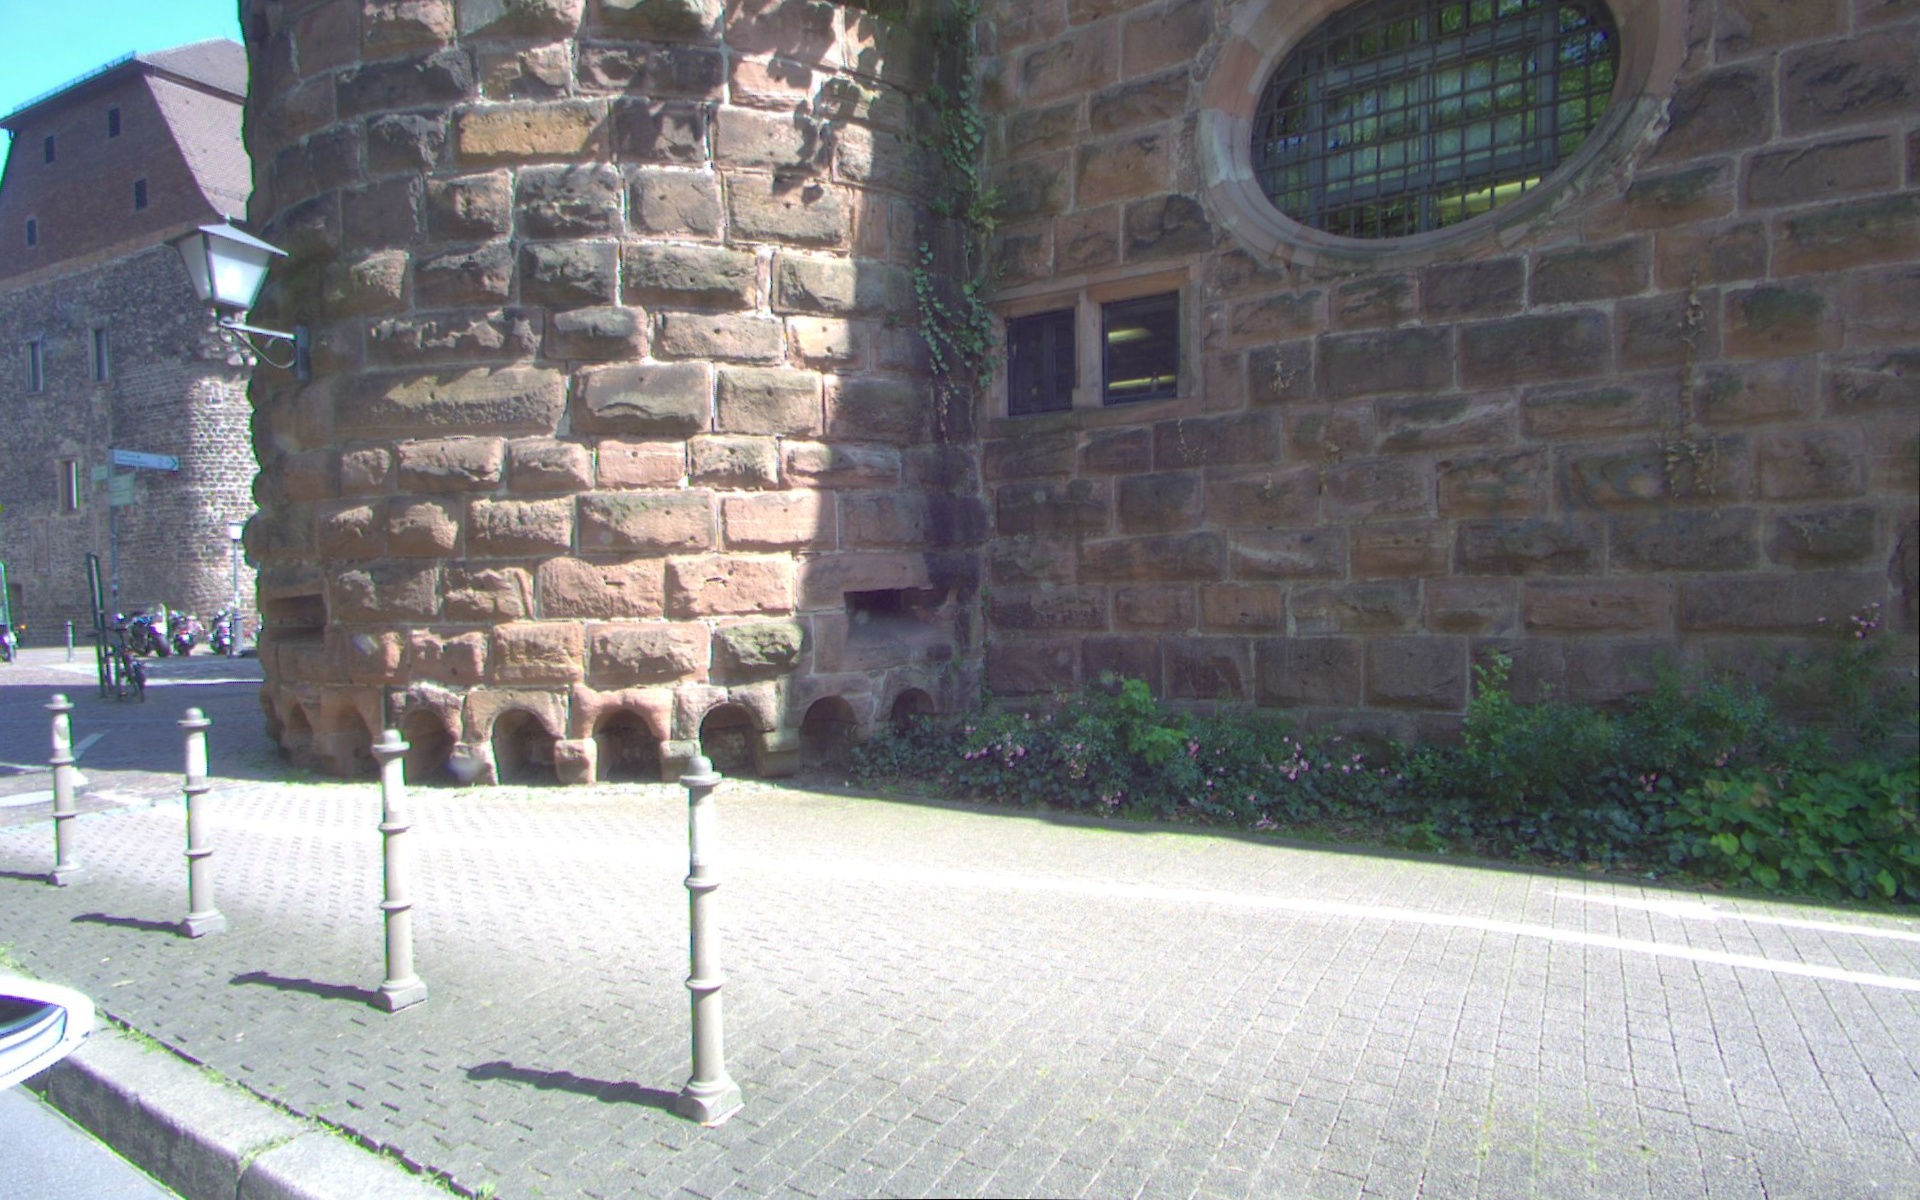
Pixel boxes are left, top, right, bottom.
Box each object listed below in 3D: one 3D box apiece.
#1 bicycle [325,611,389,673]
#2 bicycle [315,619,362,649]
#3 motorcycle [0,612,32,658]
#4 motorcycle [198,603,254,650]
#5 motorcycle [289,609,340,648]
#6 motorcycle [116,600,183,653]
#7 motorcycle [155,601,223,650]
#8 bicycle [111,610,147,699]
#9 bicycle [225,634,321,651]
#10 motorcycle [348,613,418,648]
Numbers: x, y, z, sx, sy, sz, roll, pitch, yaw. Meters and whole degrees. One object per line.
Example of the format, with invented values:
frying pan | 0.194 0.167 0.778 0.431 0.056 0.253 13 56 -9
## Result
bicycle | -11.981 0.809 19.884 1.707 1.178 0.445 0 1 36
bicycle | -18.382 1.000 29.615 1.898 0.831 0.353 0 -1 32
motorcycle | -22.189 0.790 23.053 2.453 1.026 0.565 0 1 32
motorcycle | -19.899 0.723 27.135 2.002 1.251 0.545 -1 -2 32
motorcycle | -18.136 0.809 28.129 1.814 1.087 0.506 -1 -2 32
motorcycle | -20.600 0.679 25.446 2.169 1.282 0.654 -1 -1 32
motorcycle | -20.334 0.678 26.386 2.280 1.251 0.674 -1 -2 32
bicycle | -12.004 0.759 14.446 1.750 1.220 0.192 0 1 44
bicycle | -17.548 1.072 25.616 1.916 0.386 0.909 0 -2 -44
motorcycle | -18.028 0.969 31.326 0.474 1.067 1.858 -1 -2 40
